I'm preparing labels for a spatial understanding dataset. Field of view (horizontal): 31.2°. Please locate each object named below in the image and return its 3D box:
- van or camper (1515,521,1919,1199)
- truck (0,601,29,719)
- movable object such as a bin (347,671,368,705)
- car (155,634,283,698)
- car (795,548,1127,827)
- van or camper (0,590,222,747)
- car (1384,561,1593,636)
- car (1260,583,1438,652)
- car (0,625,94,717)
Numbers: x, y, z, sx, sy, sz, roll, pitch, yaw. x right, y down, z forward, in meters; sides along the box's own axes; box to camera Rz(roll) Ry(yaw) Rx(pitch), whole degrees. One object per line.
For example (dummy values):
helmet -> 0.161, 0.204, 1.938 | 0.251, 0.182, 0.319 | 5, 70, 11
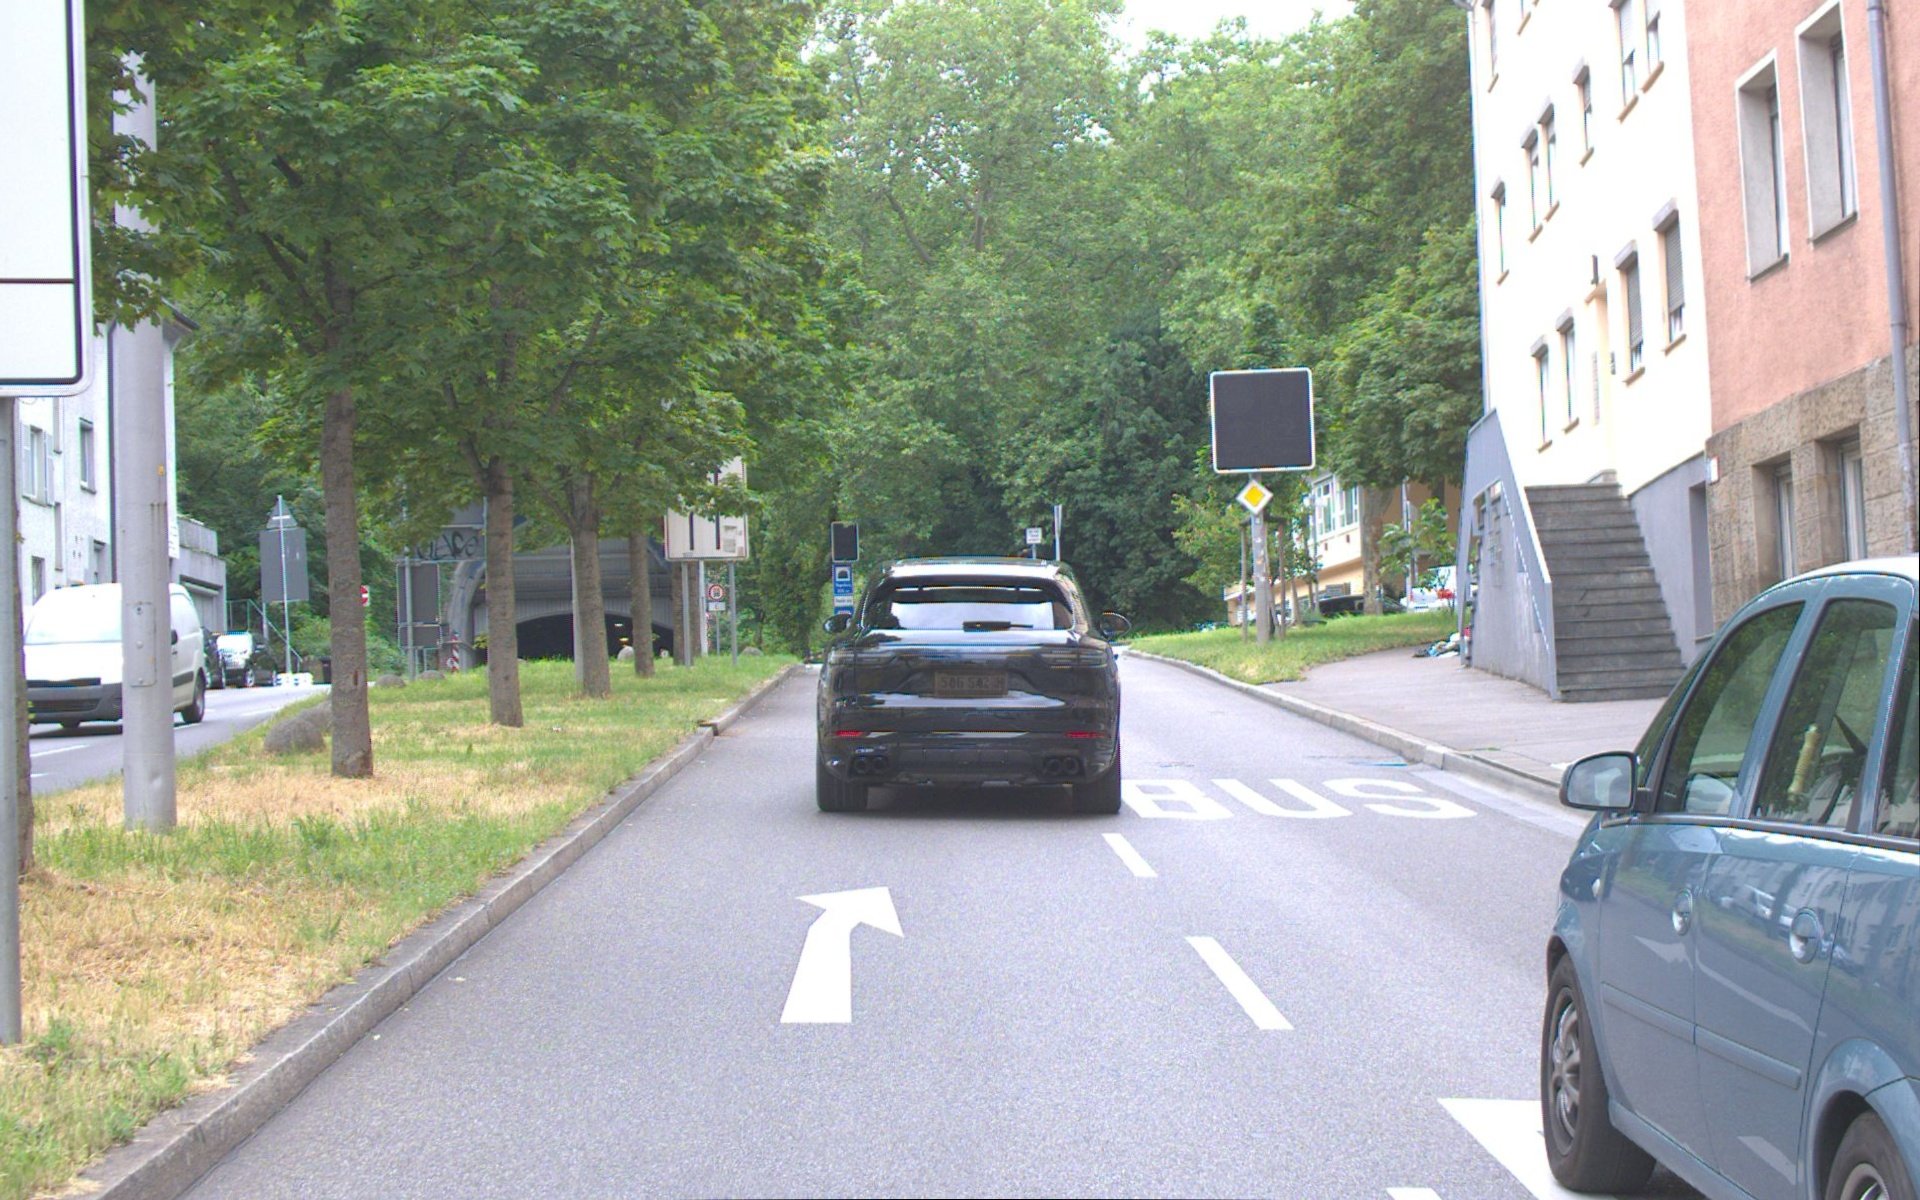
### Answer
van or camper -> 2.333, 0.669, 7.025 | 1.735, 1.572, 3.646 | 0, 0, -1
truck -> -16.584, 1.002, 55.034 | 1.993, 1.913, 5.347 | -2, -1, -2
movable object such as a bin -> -17.007, 2.486, 97.062 | 0.515, 0.964, 0.444 | 2, -3, -16
car -> -17.265, 1.541, 80.296 | 1.993, 1.396, 4.517 | -2, -1, -1
car -> 0.026, 0.581, 23.403 | 1.993, 1.648, 4.000 | -3, -1, 1
van or camper -> -10.423, 0.804, 41.796 | 1.908, 1.755, 4.654 | -1, 0, -1
car -> 11.539, -0.033, 75.041 | 4.116, 1.423, 1.863 | -3, 0, -26
car -> 8.996, 0.392, 79.336 | 1.998, 1.413, 3.990 | -3, -1, 44
car -> -16.734, 1.256, 60.431 | 1.993, 1.547, 4.382 | -2, -1, -2
